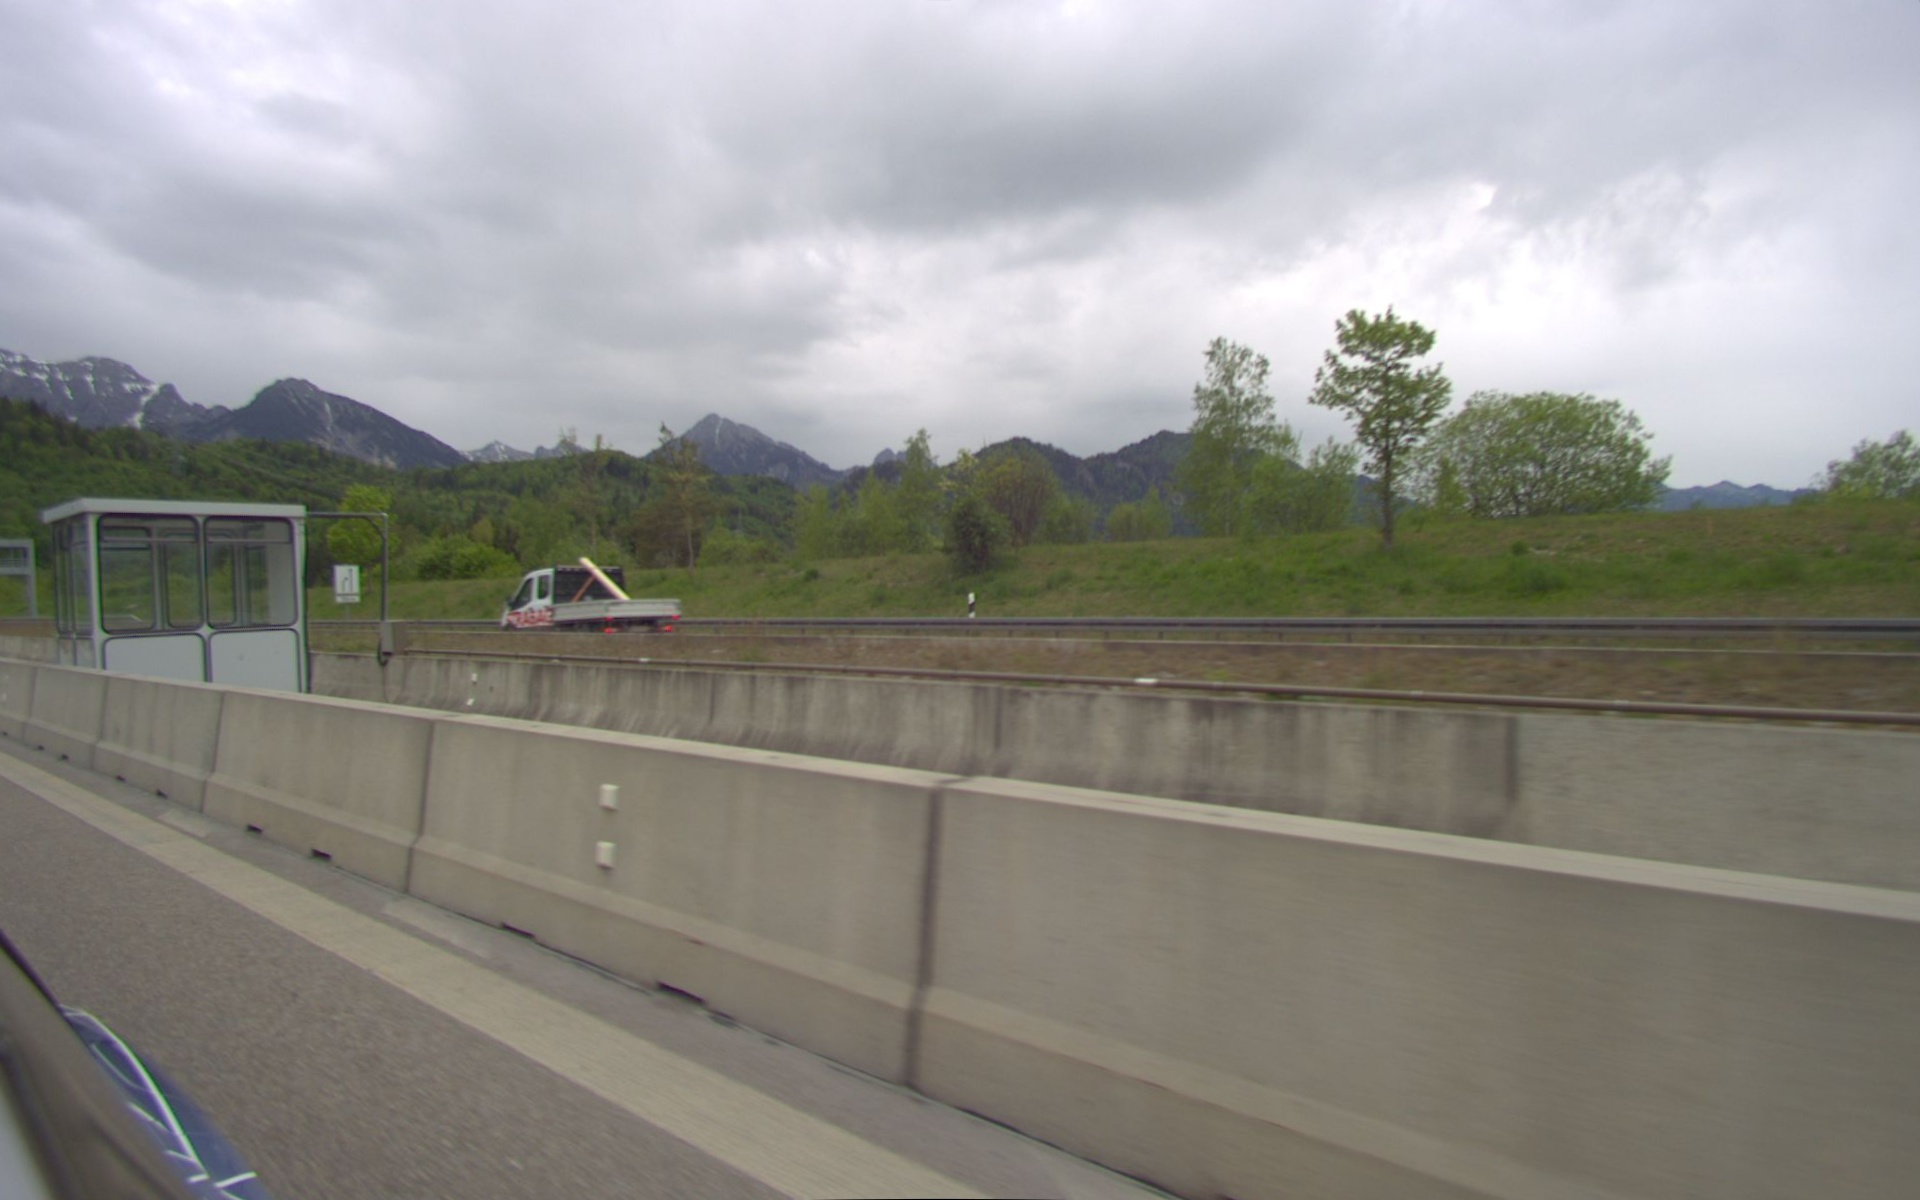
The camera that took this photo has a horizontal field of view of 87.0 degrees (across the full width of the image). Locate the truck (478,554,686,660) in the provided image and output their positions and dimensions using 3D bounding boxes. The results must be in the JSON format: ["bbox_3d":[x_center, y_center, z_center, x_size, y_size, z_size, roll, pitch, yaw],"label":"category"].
[{"bbox_3d":[-10.025,0.192,26.561,5.980,2.498,2.334,-1,0,38],"label":"truck"}]
